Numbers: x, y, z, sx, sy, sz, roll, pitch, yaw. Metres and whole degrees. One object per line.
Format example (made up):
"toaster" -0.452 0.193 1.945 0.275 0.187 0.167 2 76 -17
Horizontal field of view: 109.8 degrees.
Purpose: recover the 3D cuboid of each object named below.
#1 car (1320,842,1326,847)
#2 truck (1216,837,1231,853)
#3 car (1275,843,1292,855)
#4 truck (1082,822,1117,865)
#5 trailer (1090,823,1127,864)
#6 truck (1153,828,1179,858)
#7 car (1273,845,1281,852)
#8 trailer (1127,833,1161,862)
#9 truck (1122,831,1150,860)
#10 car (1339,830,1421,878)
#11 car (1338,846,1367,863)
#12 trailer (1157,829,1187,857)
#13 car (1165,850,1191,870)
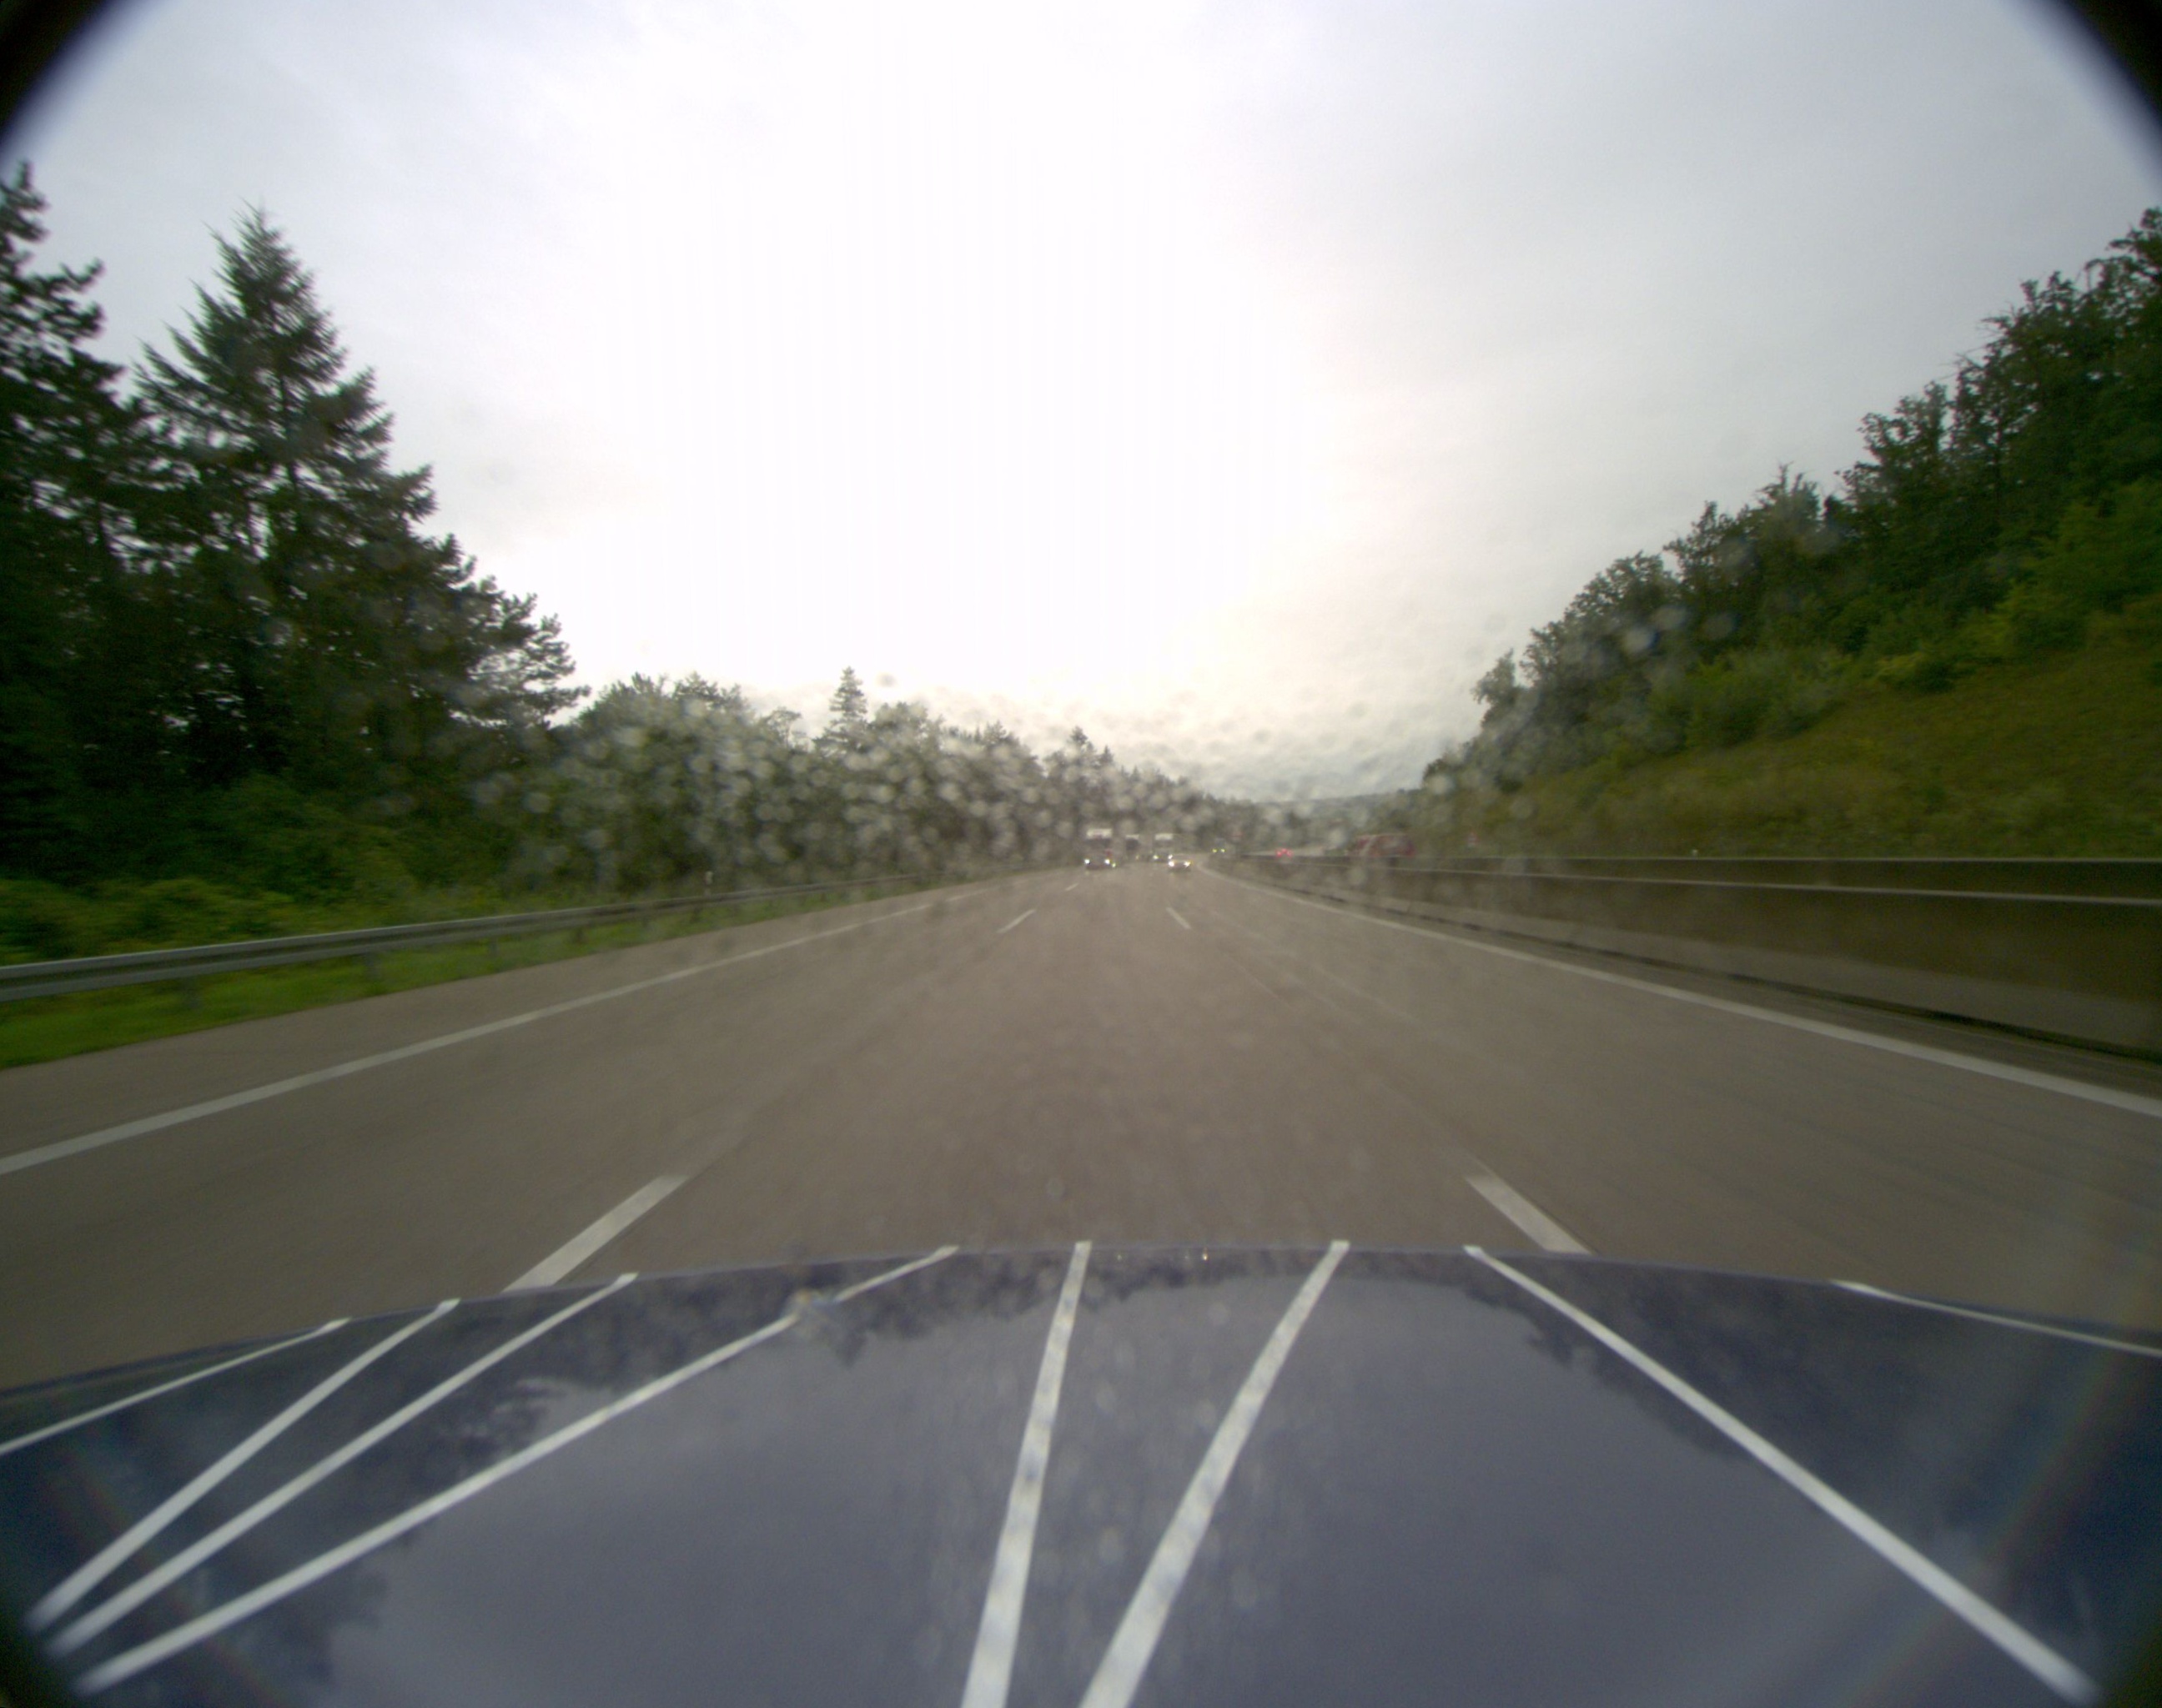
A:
"car" 79.346 -2.982 248.610 1.732 1.567 4.249 0 1 19
"truck" 38.479 -2.409 205.034 2.734 4.127 8.632 -1 0 18
"car" 27.875 -0.733 104.670 1.780 1.629 4.001 -1 1 6
"truck" 1.903 -1.009 74.490 2.379 3.930 6.164 -4 0 9
"trailer" 3.064 -0.972 81.658 2.375 3.929 12.529 -4 -1 8
"truck" 12.282 -1.581 109.088 2.725 4.017 5.758 -3 0 14
"car" 43.553 -1.212 168.840 1.779 1.509 4.003 -1 1 13
"trailer" 9.863 -1.082 117.381 2.738 4.080 13.695 -1 1 15
"truck" 8.001 -1.216 110.803 2.802 4.080 5.973 -1 1 16
"car" 14.231 -0.020 36.515 1.998 2.070 5.332 -1 0 3
"car" 26.619 0.015 74.613 1.780 1.629 4.255 -1 1 6
"trailer" 14.017 -1.656 116.031 2.683 4.017 13.718 -3 0 14
"car" 7.747 0.447 60.311 1.849 1.474 4.451 -1 1 9
